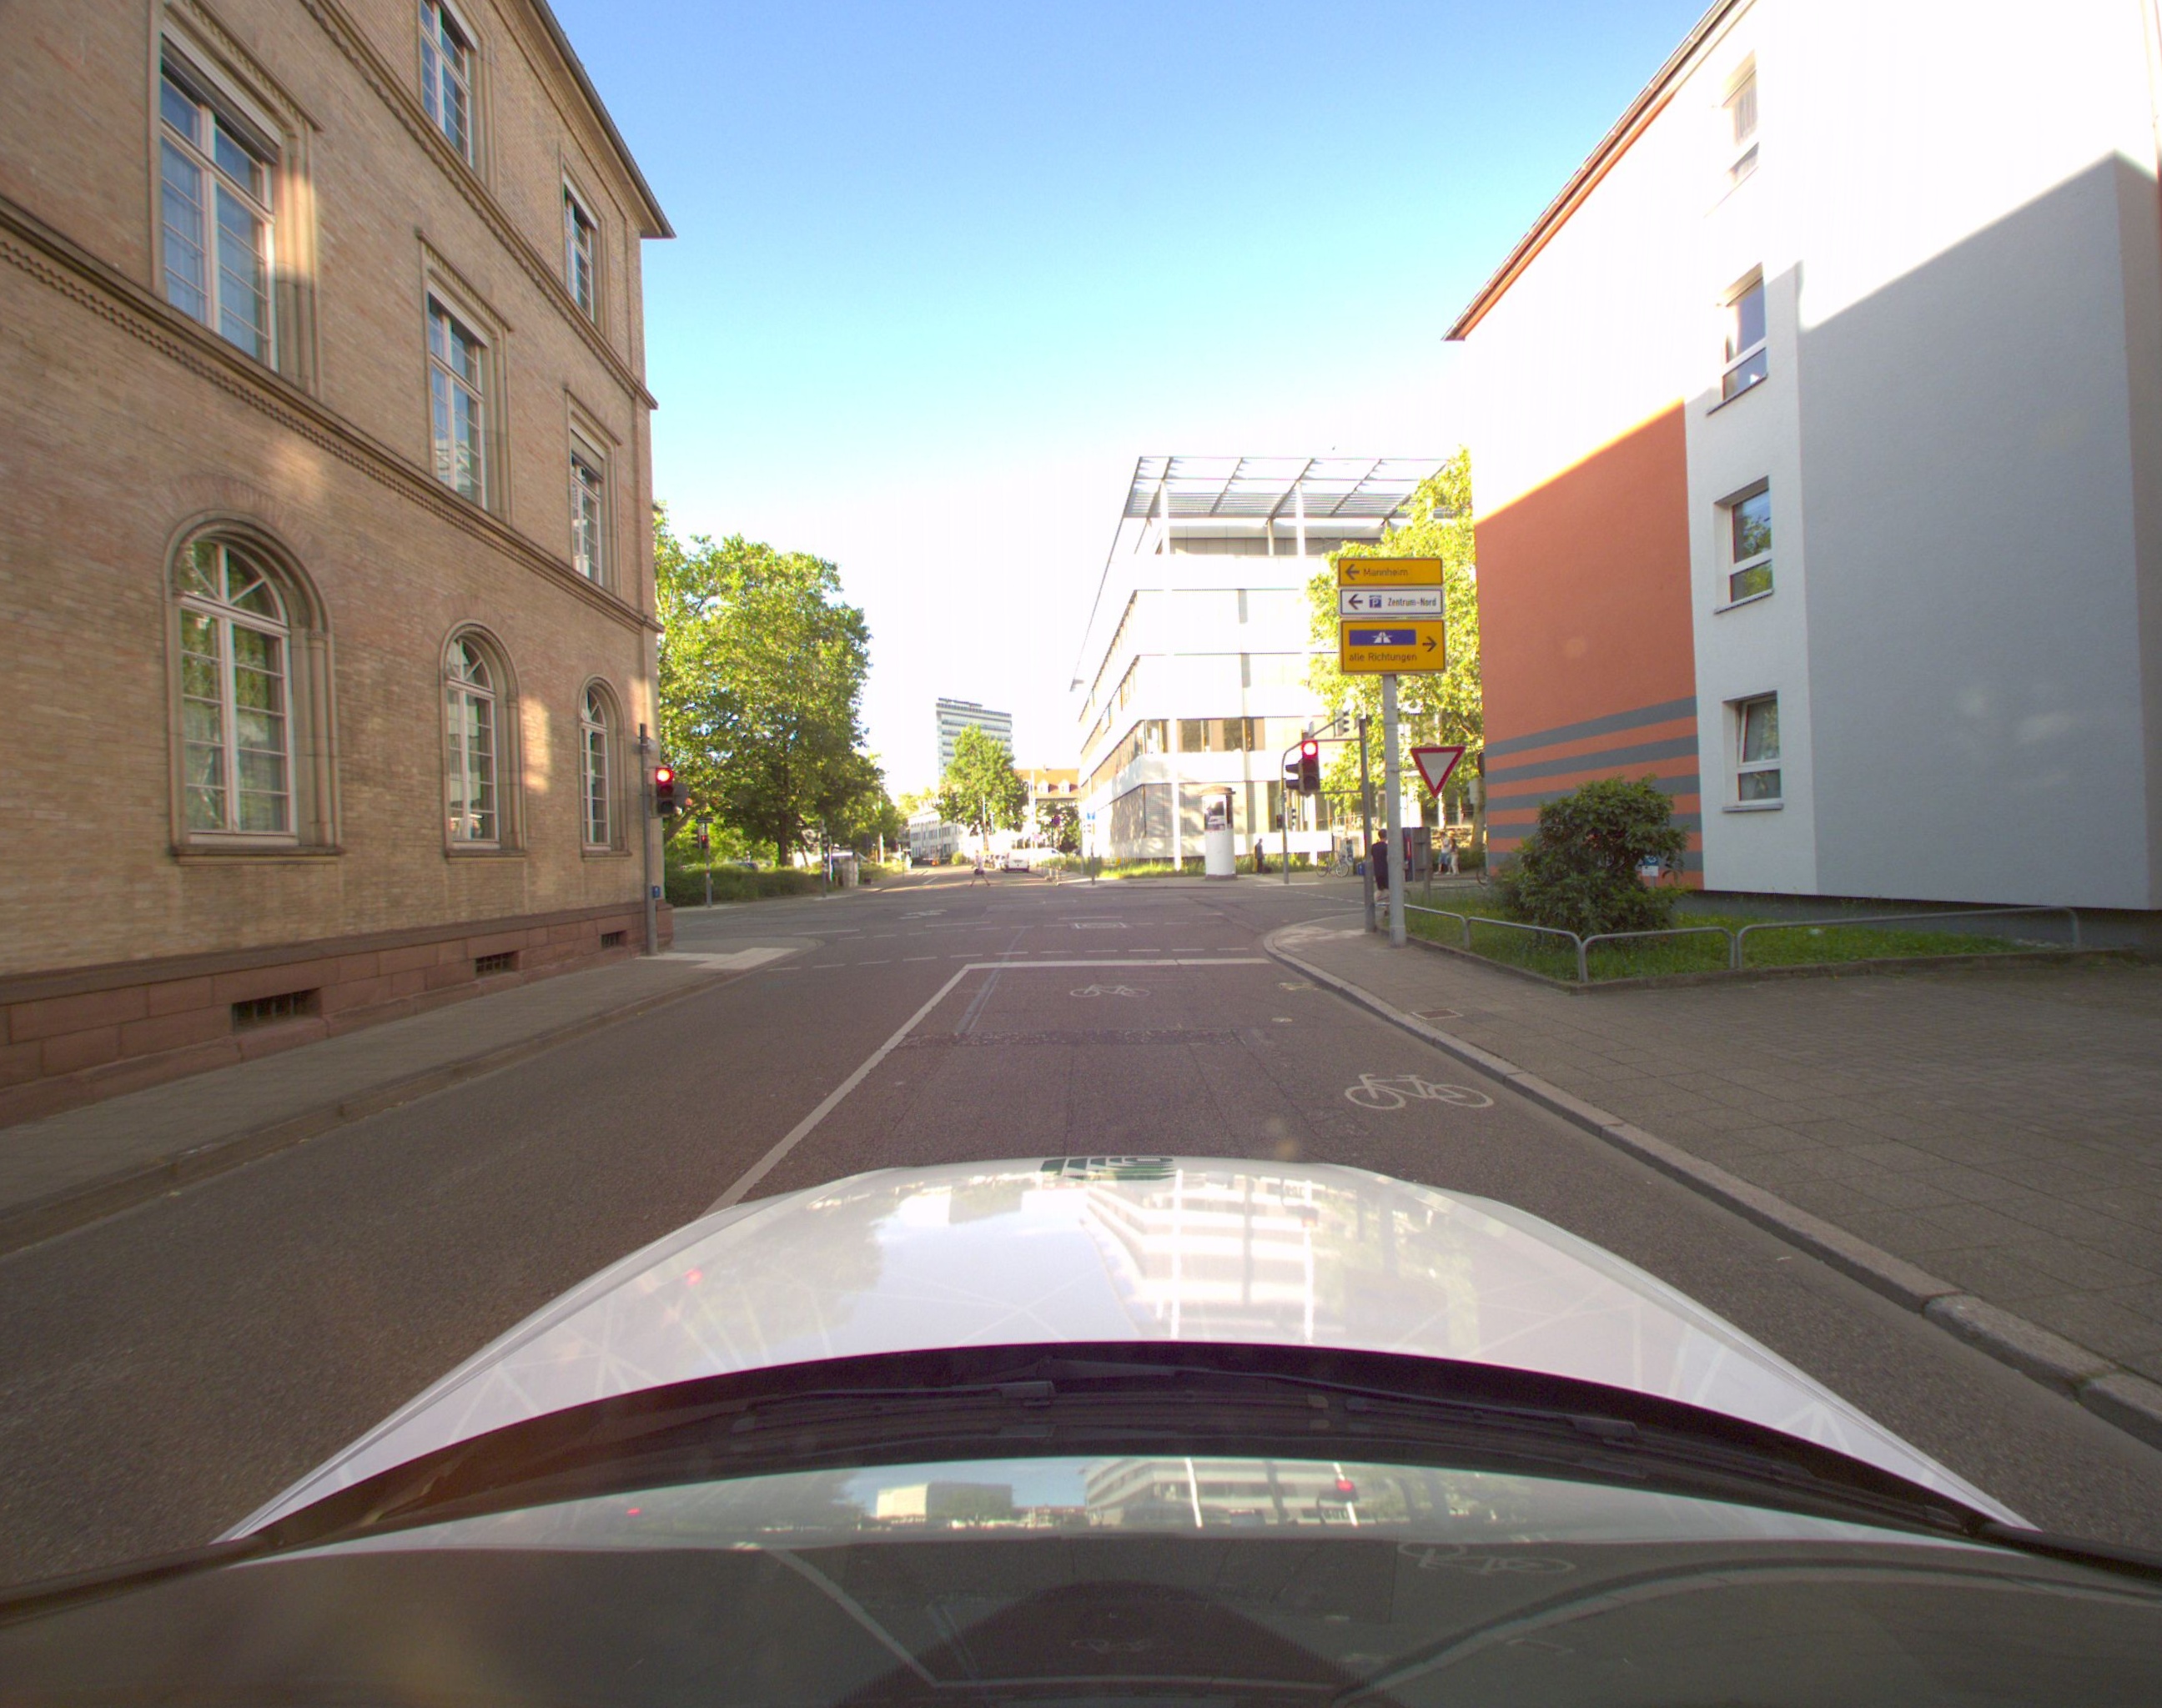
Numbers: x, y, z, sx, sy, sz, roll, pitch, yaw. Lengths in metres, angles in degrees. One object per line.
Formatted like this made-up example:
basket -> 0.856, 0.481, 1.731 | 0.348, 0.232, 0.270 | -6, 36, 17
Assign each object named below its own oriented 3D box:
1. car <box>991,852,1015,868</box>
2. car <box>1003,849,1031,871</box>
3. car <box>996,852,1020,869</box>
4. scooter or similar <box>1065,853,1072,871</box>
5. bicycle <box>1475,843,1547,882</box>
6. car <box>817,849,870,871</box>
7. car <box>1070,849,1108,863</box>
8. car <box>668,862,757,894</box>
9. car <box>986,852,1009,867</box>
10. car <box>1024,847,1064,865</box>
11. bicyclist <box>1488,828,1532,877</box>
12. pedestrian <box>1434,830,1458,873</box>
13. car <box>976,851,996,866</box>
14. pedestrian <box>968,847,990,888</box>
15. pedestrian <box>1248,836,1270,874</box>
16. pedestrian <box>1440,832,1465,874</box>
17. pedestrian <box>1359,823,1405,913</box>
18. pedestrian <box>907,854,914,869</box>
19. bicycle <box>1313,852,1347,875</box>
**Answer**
car -> -7.843, 0.591, 81.632 | 1.994, 1.499, 4.270 | 0, -1, -11
car -> -5.172, 0.473, 65.124 | 1.992, 1.725, 4.640 | 0, -1, -7
car -> -6.920, 0.614, 77.159 | 1.993, 1.499, 4.638 | 0, -1, -8
scooter or similar -> -0.913, 0.584, 58.482 | 0.436, 1.256, 1.418 | -2, 0, -2
bicycle -> 13.791, 0.275, 26.156 | 1.953, 1.152, 0.593 | -2, 0, 7
car -> -22.024, 0.538, 75.774 | 4.441, 2.014, 1.995 | 0, -1, -8
car -> 1.023, 0.259, 104.962 | 4.644, 1.725, 1.990 | 0, -1, -15
car -> -17.083, 1.100, 37.908 | 3.407, 1.457, 1.646 | 0, -1, -8
car -> -8.884, 0.597, 86.385 | 1.994, 1.499, 4.635 | 0, -1, -10
car -> -4.683, 0.278, 103.255 | 4.802, 2.159, 1.989 | 0, -1, -16
bicyclist -> 13.772, -0.040, 26.164 | 1.069, 1.527, 0.593 | -2, 0, 7
pedestrian -> 15.468, -0.113, 34.515 | 0.761, 1.795, 0.648 | 0, -1, 4
car -> -11.301, 0.544, 96.309 | 1.995, 1.725, 4.633 | 0, -1, -11
pedestrian -> -4.756, 0.637, 38.137 | 0.910, 1.869, 0.743 | 0, -1, 2
pedestrian -> 8.523, 0.052, 38.931 | 0.910, 1.815, 0.763 | 0, -1, 3
pedestrian -> 15.394, -0.040, 33.747 | 0.761, 1.719, 0.648 | 0, -1, 4
pedestrian -> 6.201, 0.279, 16.790 | 0.693, 1.810, 0.724 | -1, -1, 37
pedestrian -> -17.580, 0.787, 83.762 | 0.700, 1.587, 0.633 | 0, -1, -14
bicycle -> 11.006, 0.425, 36.033 | 0.381, 1.008, 1.416 | -2, 0, -40
